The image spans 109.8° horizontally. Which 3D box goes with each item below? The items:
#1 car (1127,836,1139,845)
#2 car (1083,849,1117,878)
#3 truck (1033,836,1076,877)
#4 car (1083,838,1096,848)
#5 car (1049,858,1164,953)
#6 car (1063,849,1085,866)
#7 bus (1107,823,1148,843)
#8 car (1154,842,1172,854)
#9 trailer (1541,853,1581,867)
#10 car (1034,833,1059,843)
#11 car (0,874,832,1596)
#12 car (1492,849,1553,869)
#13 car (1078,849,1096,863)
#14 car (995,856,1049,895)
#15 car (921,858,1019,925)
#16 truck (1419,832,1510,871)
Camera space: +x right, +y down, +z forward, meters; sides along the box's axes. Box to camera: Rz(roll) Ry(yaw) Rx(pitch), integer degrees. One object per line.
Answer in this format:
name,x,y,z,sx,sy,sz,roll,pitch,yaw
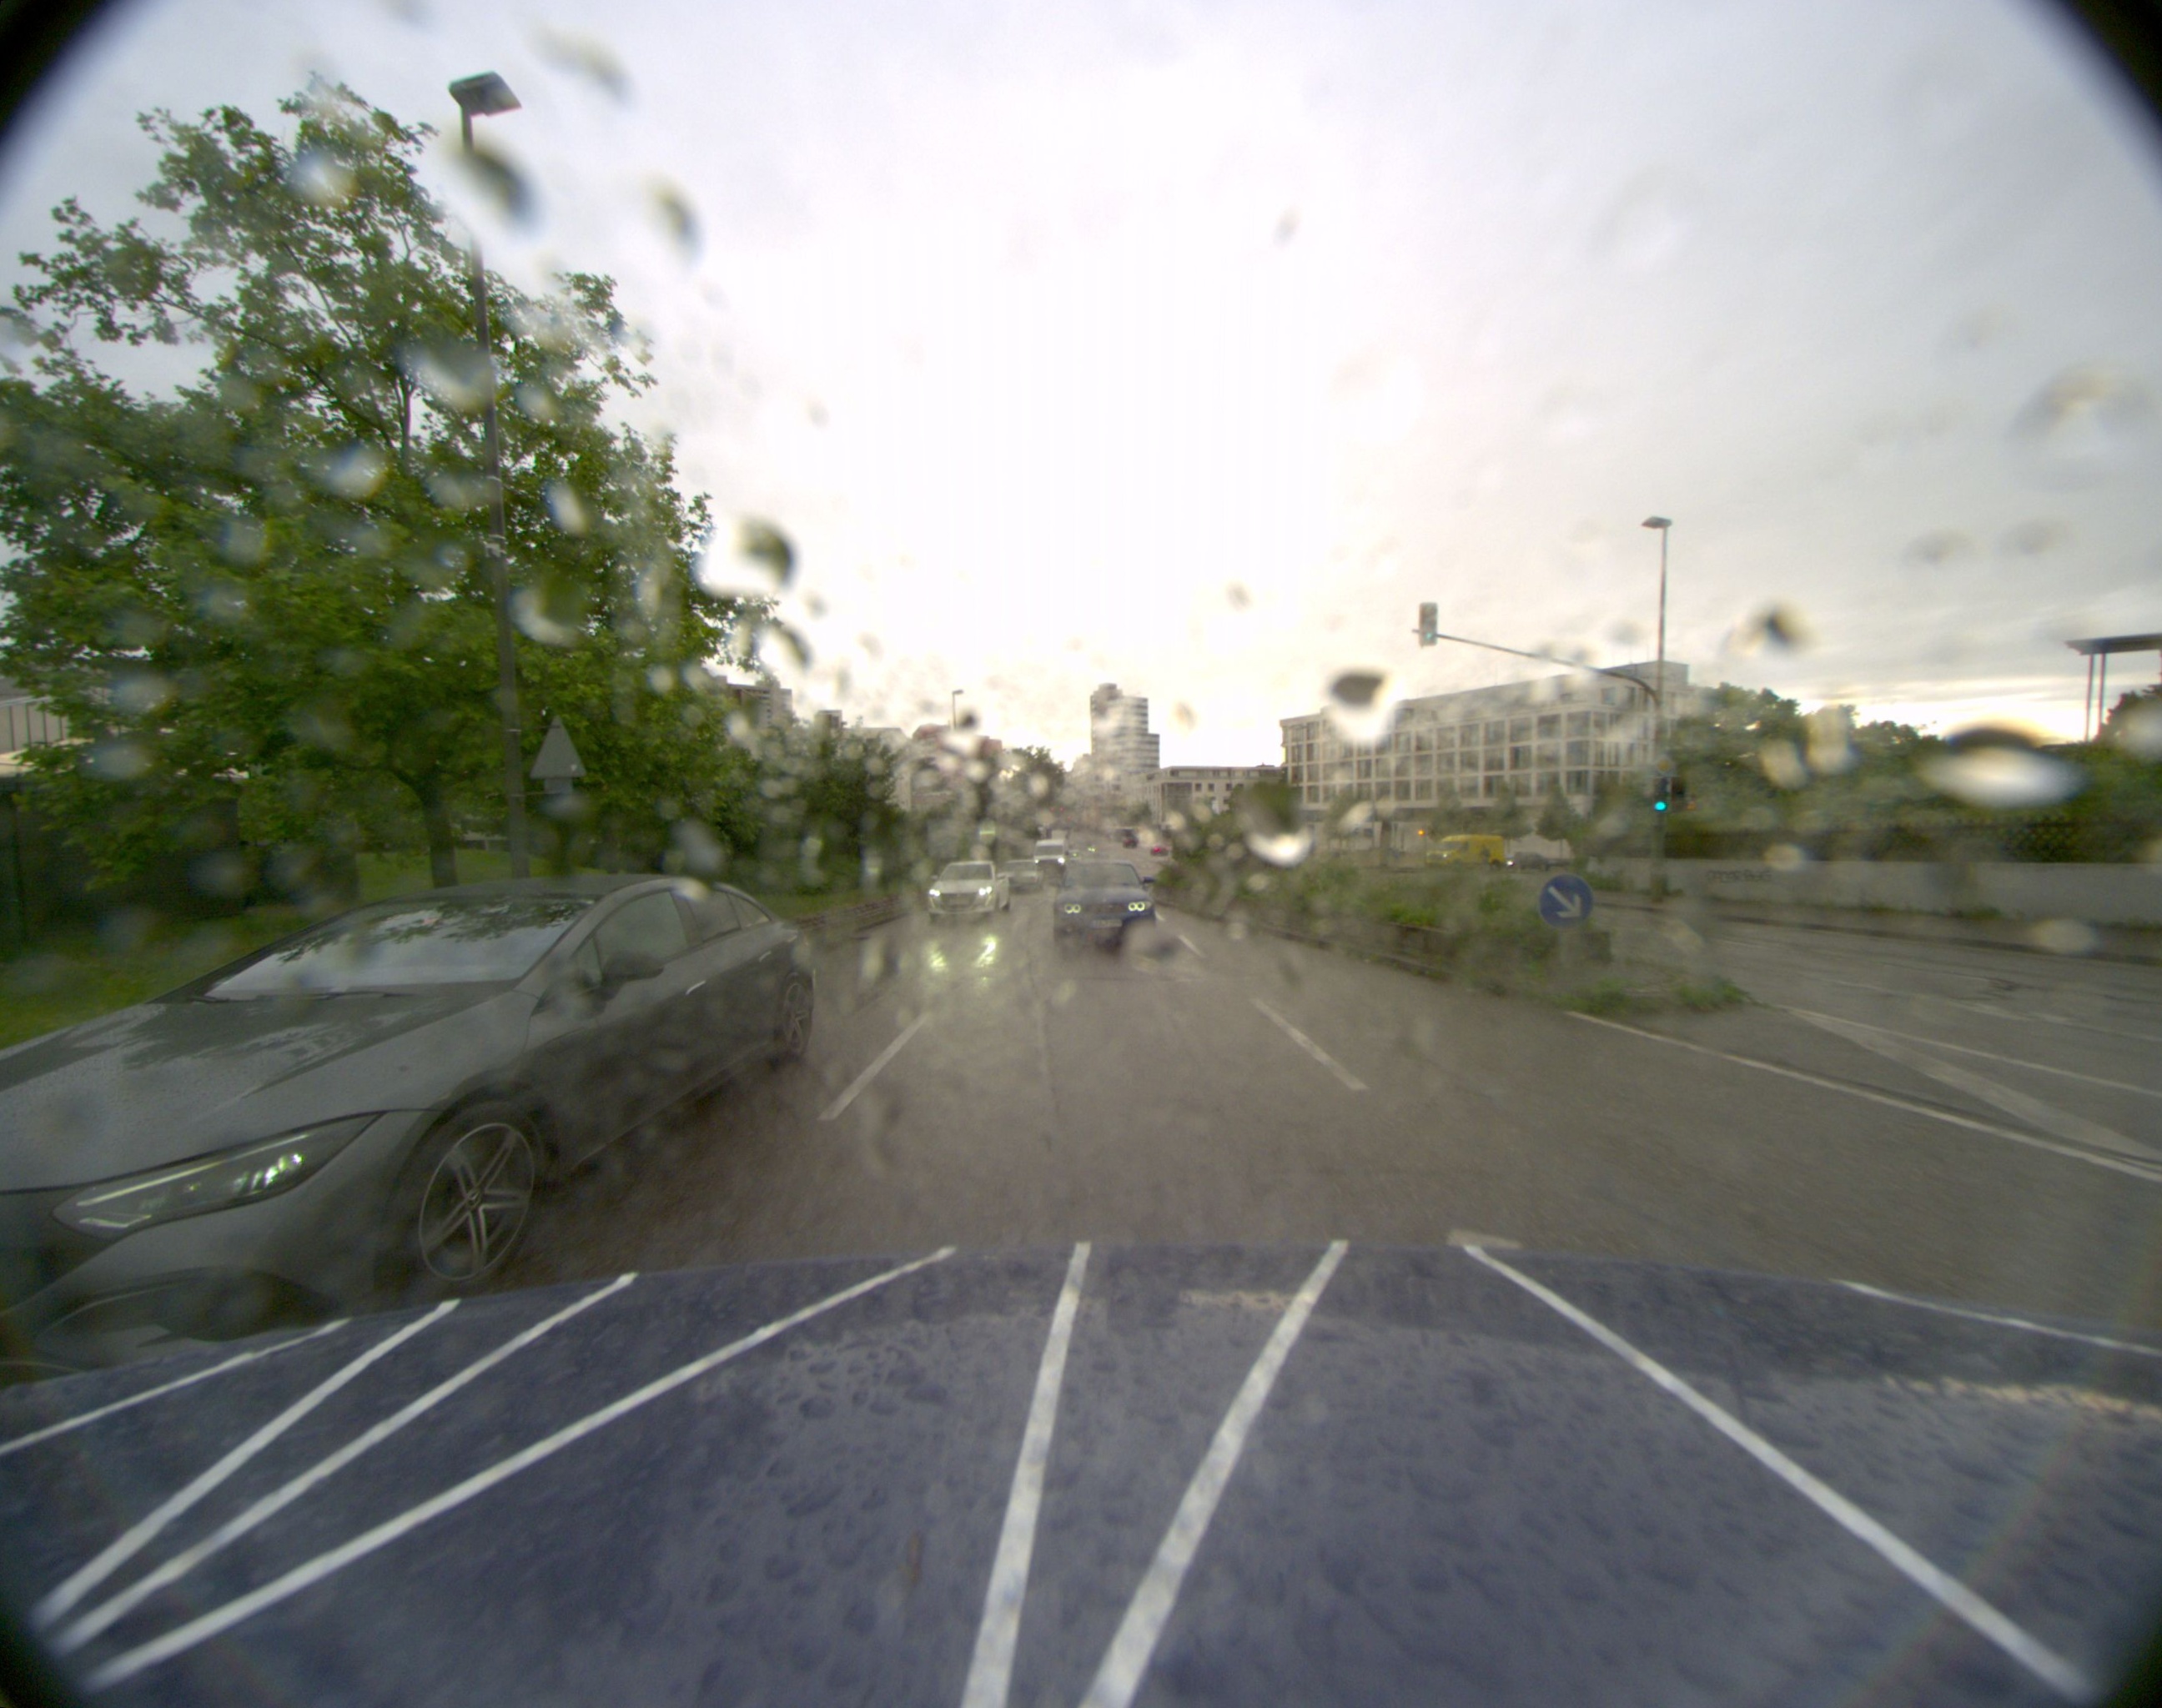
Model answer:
car,8.847,-2.283,129.927,1.907,1.543,4.074,-1,1,3
car,1.103,0.516,42.431,1.717,1.369,3.734,-3,1,3
truck,-1.637,0.071,50.088,2.168,2.426,6.199,-2,2,3
car,1.367,-1.716,119.664,1.998,1.543,4.000,-2,0,1
car,0.508,0.834,13.918,1.786,1.335,3.704,-2,2,3
car,-0.623,0.306,72.141,1.998,1.543,4.000,-2,1,1
bus,9.413,-4.397,158.613,2.955,3.973,18.199,0,2,-15
car,10.442,-0.781,97.238,1.998,1.406,4.430,-1,2,3
trailer,36.209,0.454,57.297,2.290,0.973,1.604,0,2,-30
car,-5.942,-2.734,130.376,3.999,1.412,1.701,-3,2,-6
car,-3.094,0.986,4.034,1.836,1.436,4.550,-3,1,2
car,32.016,0.346,55.047,4.363,1.310,1.860,0,2,-30
car,0.739,0.248,89.034,1.998,1.543,4.000,-2,0,1
car,-2.439,0.860,32.370,1.717,1.369,3.734,-3,1,3
car,-2.836,0.909,20.213,1.717,1.389,4.035,-3,1,3
truck,25.874,-0.204,51.210,6.184,2.524,2.223,0,2,-27
